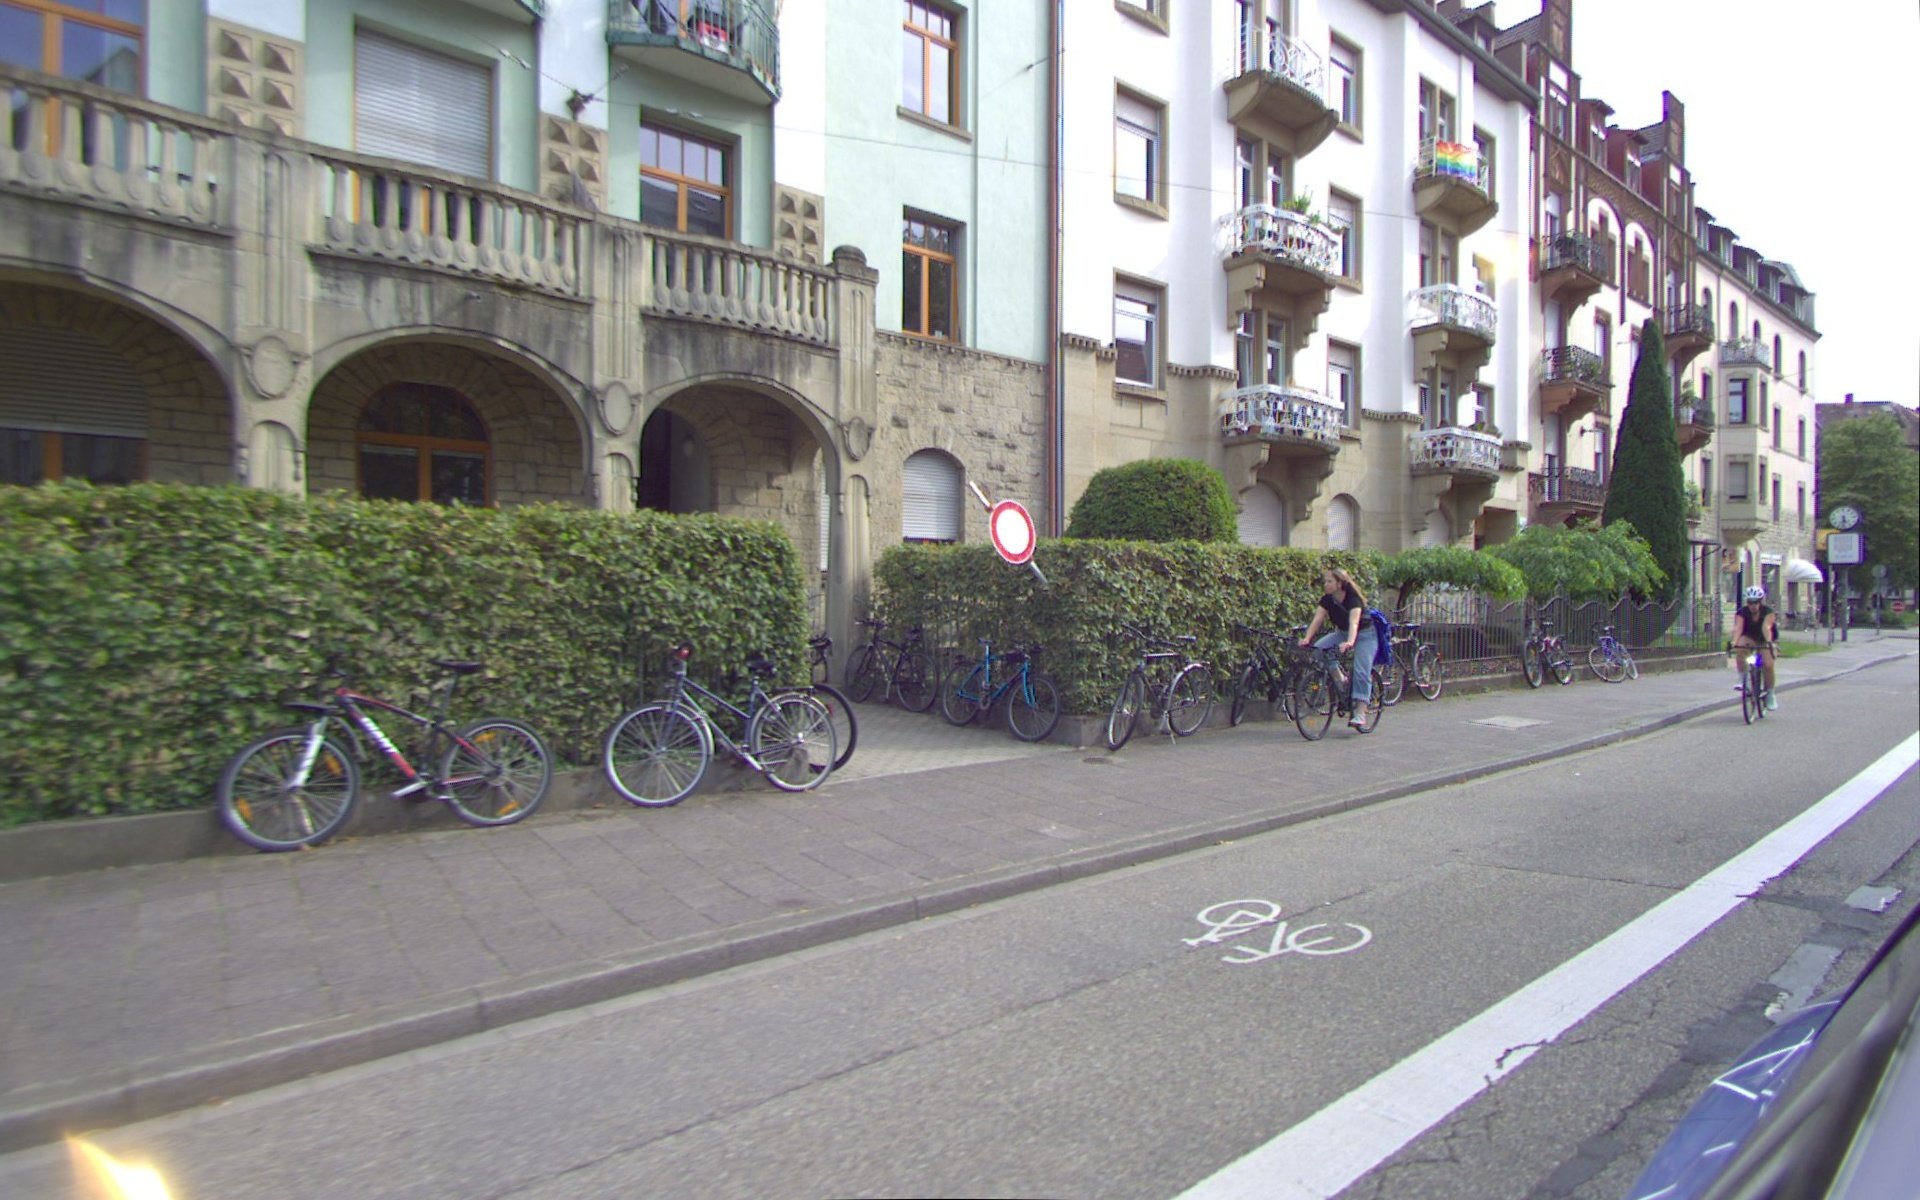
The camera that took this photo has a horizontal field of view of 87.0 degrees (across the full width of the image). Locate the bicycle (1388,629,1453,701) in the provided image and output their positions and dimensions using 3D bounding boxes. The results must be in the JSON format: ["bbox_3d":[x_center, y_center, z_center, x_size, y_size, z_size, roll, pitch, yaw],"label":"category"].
[{"bbox_3d":[6.059,0.840,13.292,1.176,0.863,0.278,-1,1,-39],"label":"bicycle"}]

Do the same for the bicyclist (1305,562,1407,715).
[{"bbox_3d":[4.066,0.368,10.396,0.787,1.488,0.648,0,2,-41],"label":"bicyclist"}]

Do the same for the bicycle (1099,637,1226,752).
[{"bbox_3d":[1.976,0.864,9.732,0.485,0.918,1.641,1,2,40],"label":"bicycle"}]

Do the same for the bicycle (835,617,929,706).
[{"bbox_3d":[-0.927,0.687,11.789,0.381,0.898,1.444,0,2,-36],"label":"bicycle"}]

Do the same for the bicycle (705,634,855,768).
[{"bbox_3d":[-1.547,0.796,8.501,0.478,0.918,1.663,-1,2,-40],"label":"bicycle"}]

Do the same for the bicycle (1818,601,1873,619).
[{"bbox_3d":[53.153,0.598,60.773,0.871,1.058,3.091,0,0,7],"label":"bicycle"}]

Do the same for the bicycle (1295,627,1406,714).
[{"bbox_3d":[4.703,0.816,12.138,1.635,0.918,0.487,-1,1,-39],"label":"bicycle"}]

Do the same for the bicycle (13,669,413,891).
[{"bbox_3d":[-3.818,0.877,5.312,1.633,0.918,0.387,-1,1,-35],"label":"bicycle"}]

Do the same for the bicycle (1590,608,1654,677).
[{"bbox_3d":[11.438,0.706,17.461,1.727,1.116,0.392,0,1,-39],"label":"bicycle"}]

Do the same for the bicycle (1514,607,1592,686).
[{"bbox_3d":[9.309,0.705,15.856,1.886,1.156,0.392,0,1,-39],"label":"bicycle"}]

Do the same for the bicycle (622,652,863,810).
[{"bbox_3d":[-1.493,0.872,7.106,1.633,0.918,0.387,-1,1,-35],"label":"bicycle"}]

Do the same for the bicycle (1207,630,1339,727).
[{"bbox_3d":[3.404,0.814,10.953,1.634,0.918,0.487,-1,1,-36],"label":"bicycle"}]

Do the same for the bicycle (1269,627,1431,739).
[{"bbox_3d":[4.046,0.803,10.408,2.001,0.974,0.690,0,2,-42],"label":"bicycle"}]

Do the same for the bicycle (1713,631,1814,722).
[{"bbox_3d":[10.142,0.919,12.747,2.036,0.993,0.639,0,1,-41],"label":"bicycle"}]

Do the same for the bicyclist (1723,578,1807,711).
[{"bbox_3d":[10.139,0.528,12.738,1.091,1.590,0.639,0,0,-41],"label":"bicyclist"}]

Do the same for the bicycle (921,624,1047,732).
[{"bbox_3d":[0.202,0.742,10.213,0.477,0.918,1.667,0,2,-30],"label":"bicycle"}]

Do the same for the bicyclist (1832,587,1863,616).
[{"bbox_3d":[53.153,0.105,60.639,0.825,1.711,1.244,1,-1,7],"label":"bicyclist"}]

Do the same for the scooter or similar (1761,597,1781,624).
[{"bbox_3d":[36.746,0.459,45.846,1.175,1.182,0.398,0,2,-39],"label":"scooter or similar"}]
